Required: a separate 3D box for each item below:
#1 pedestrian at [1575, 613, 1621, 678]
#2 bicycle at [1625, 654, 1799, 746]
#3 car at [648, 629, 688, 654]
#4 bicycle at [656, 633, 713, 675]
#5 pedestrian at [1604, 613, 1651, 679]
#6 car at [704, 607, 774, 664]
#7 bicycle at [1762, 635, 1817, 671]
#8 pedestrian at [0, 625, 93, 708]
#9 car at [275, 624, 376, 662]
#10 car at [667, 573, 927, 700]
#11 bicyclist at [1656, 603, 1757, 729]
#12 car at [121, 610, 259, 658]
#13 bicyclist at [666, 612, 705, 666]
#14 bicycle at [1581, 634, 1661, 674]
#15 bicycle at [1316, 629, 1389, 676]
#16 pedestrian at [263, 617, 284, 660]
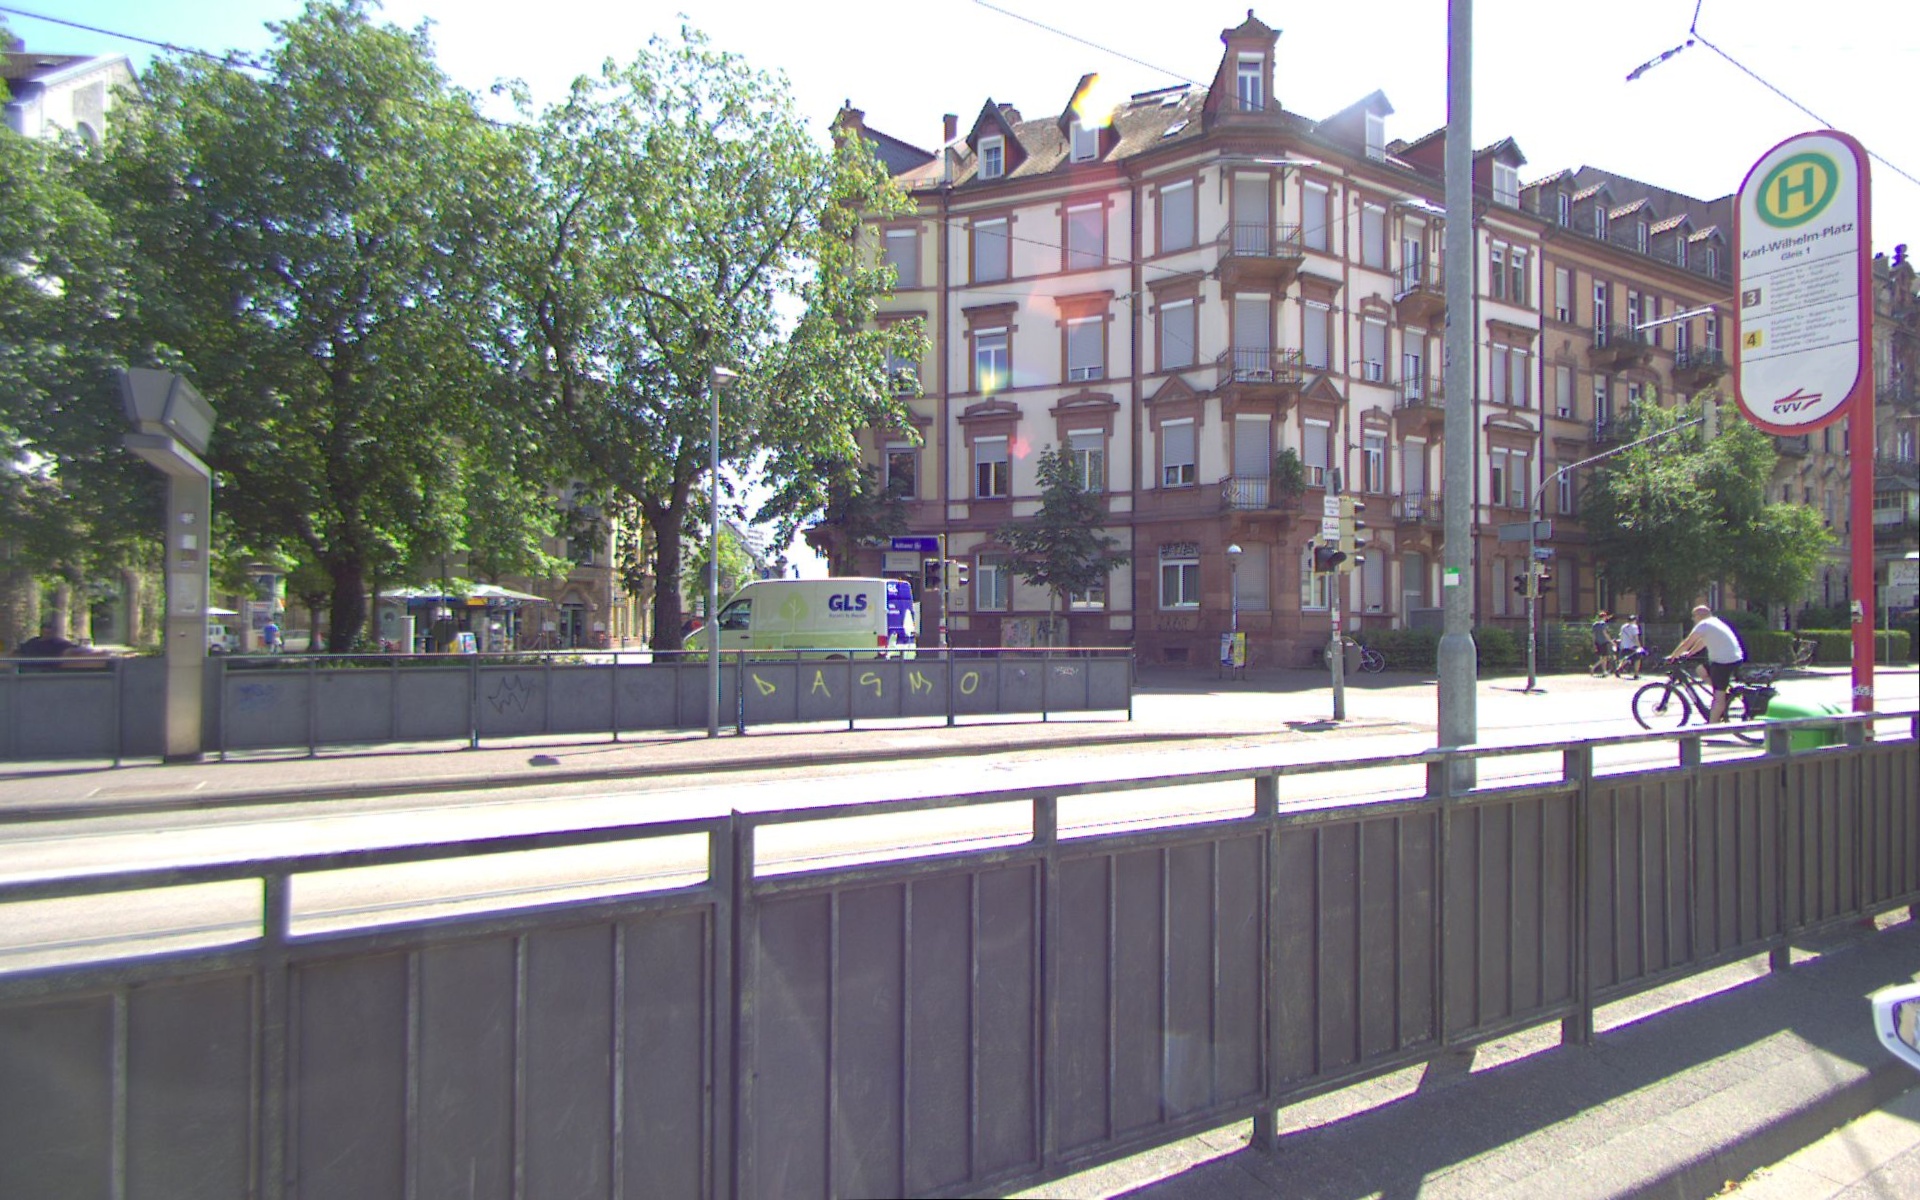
[{"bbox_3d":[18.674,1.300,29.400,0.863,1.847,0.812,0,1,-30],"label":"pedestrian"},{"bbox_3d":[9.914,1.288,13.318,0.690,1.070,1.757,1,-1,-22],"label":"bicycle"},{"bbox_3d":[-20.667,2.927,71.163,1.846,1.617,3.998,2,0,-4],"label":"car"},{"bbox_3d":[-8.339,1.626,30.382,1.896,1.188,0.646,1,-1,38],"label":"bicycle"},{"bbox_3d":[19.128,1.304,28.777,0.863,1.847,0.812,0,1,-30],"label":"pedestrian"},{"bbox_3d":[-8.337,1.304,38.217,1.962,1.970,3.998,2,0,-4],"label":"car"},{"bbox_3d":[28.507,1.798,34.498,2.750,1.151,0.930,2,0,-39],"label":"bicycle"},{"bbox_3d":[-14.668,1.049,16.105,0.925,1.261,0.860,2,0,-24],"label":"pedestrian"},{"bbox_3d":[-32.084,2.171,50.890,3.920,1.730,1.761,2,0,-14],"label":"car"},{"bbox_3d":[-3.903,0.795,24.147,5.712,2.709,2.274,2,0,19],"label":"car"},{"bbox_3d":[9.901,0.853,13.340,0.690,1.613,0.845,1,-1,-22],"label":"bicyclist"},{"bbox_3d":[-31.197,1.378,40.815,3.932,1.814,1.994,2,0,-14],"label":"car"},{"bbox_3d":[-8.284,1.158,30.287,0.884,1.582,0.720,1,-1,37],"label":"bicyclist"},{"bbox_3d":[20.220,1.643,30.716,2.742,1.151,0.932,2,0,-31],"label":"bicycle"},{"bbox_3d":[11.657,1.557,29.862,1.923,1.312,0.564,2,0,11],"label":"bicycle"},{"bbox_3d":[-27.493,1.527,40.205,0.506,1.692,0.491,0,-1,-8],"label":"pedestrian"}]
